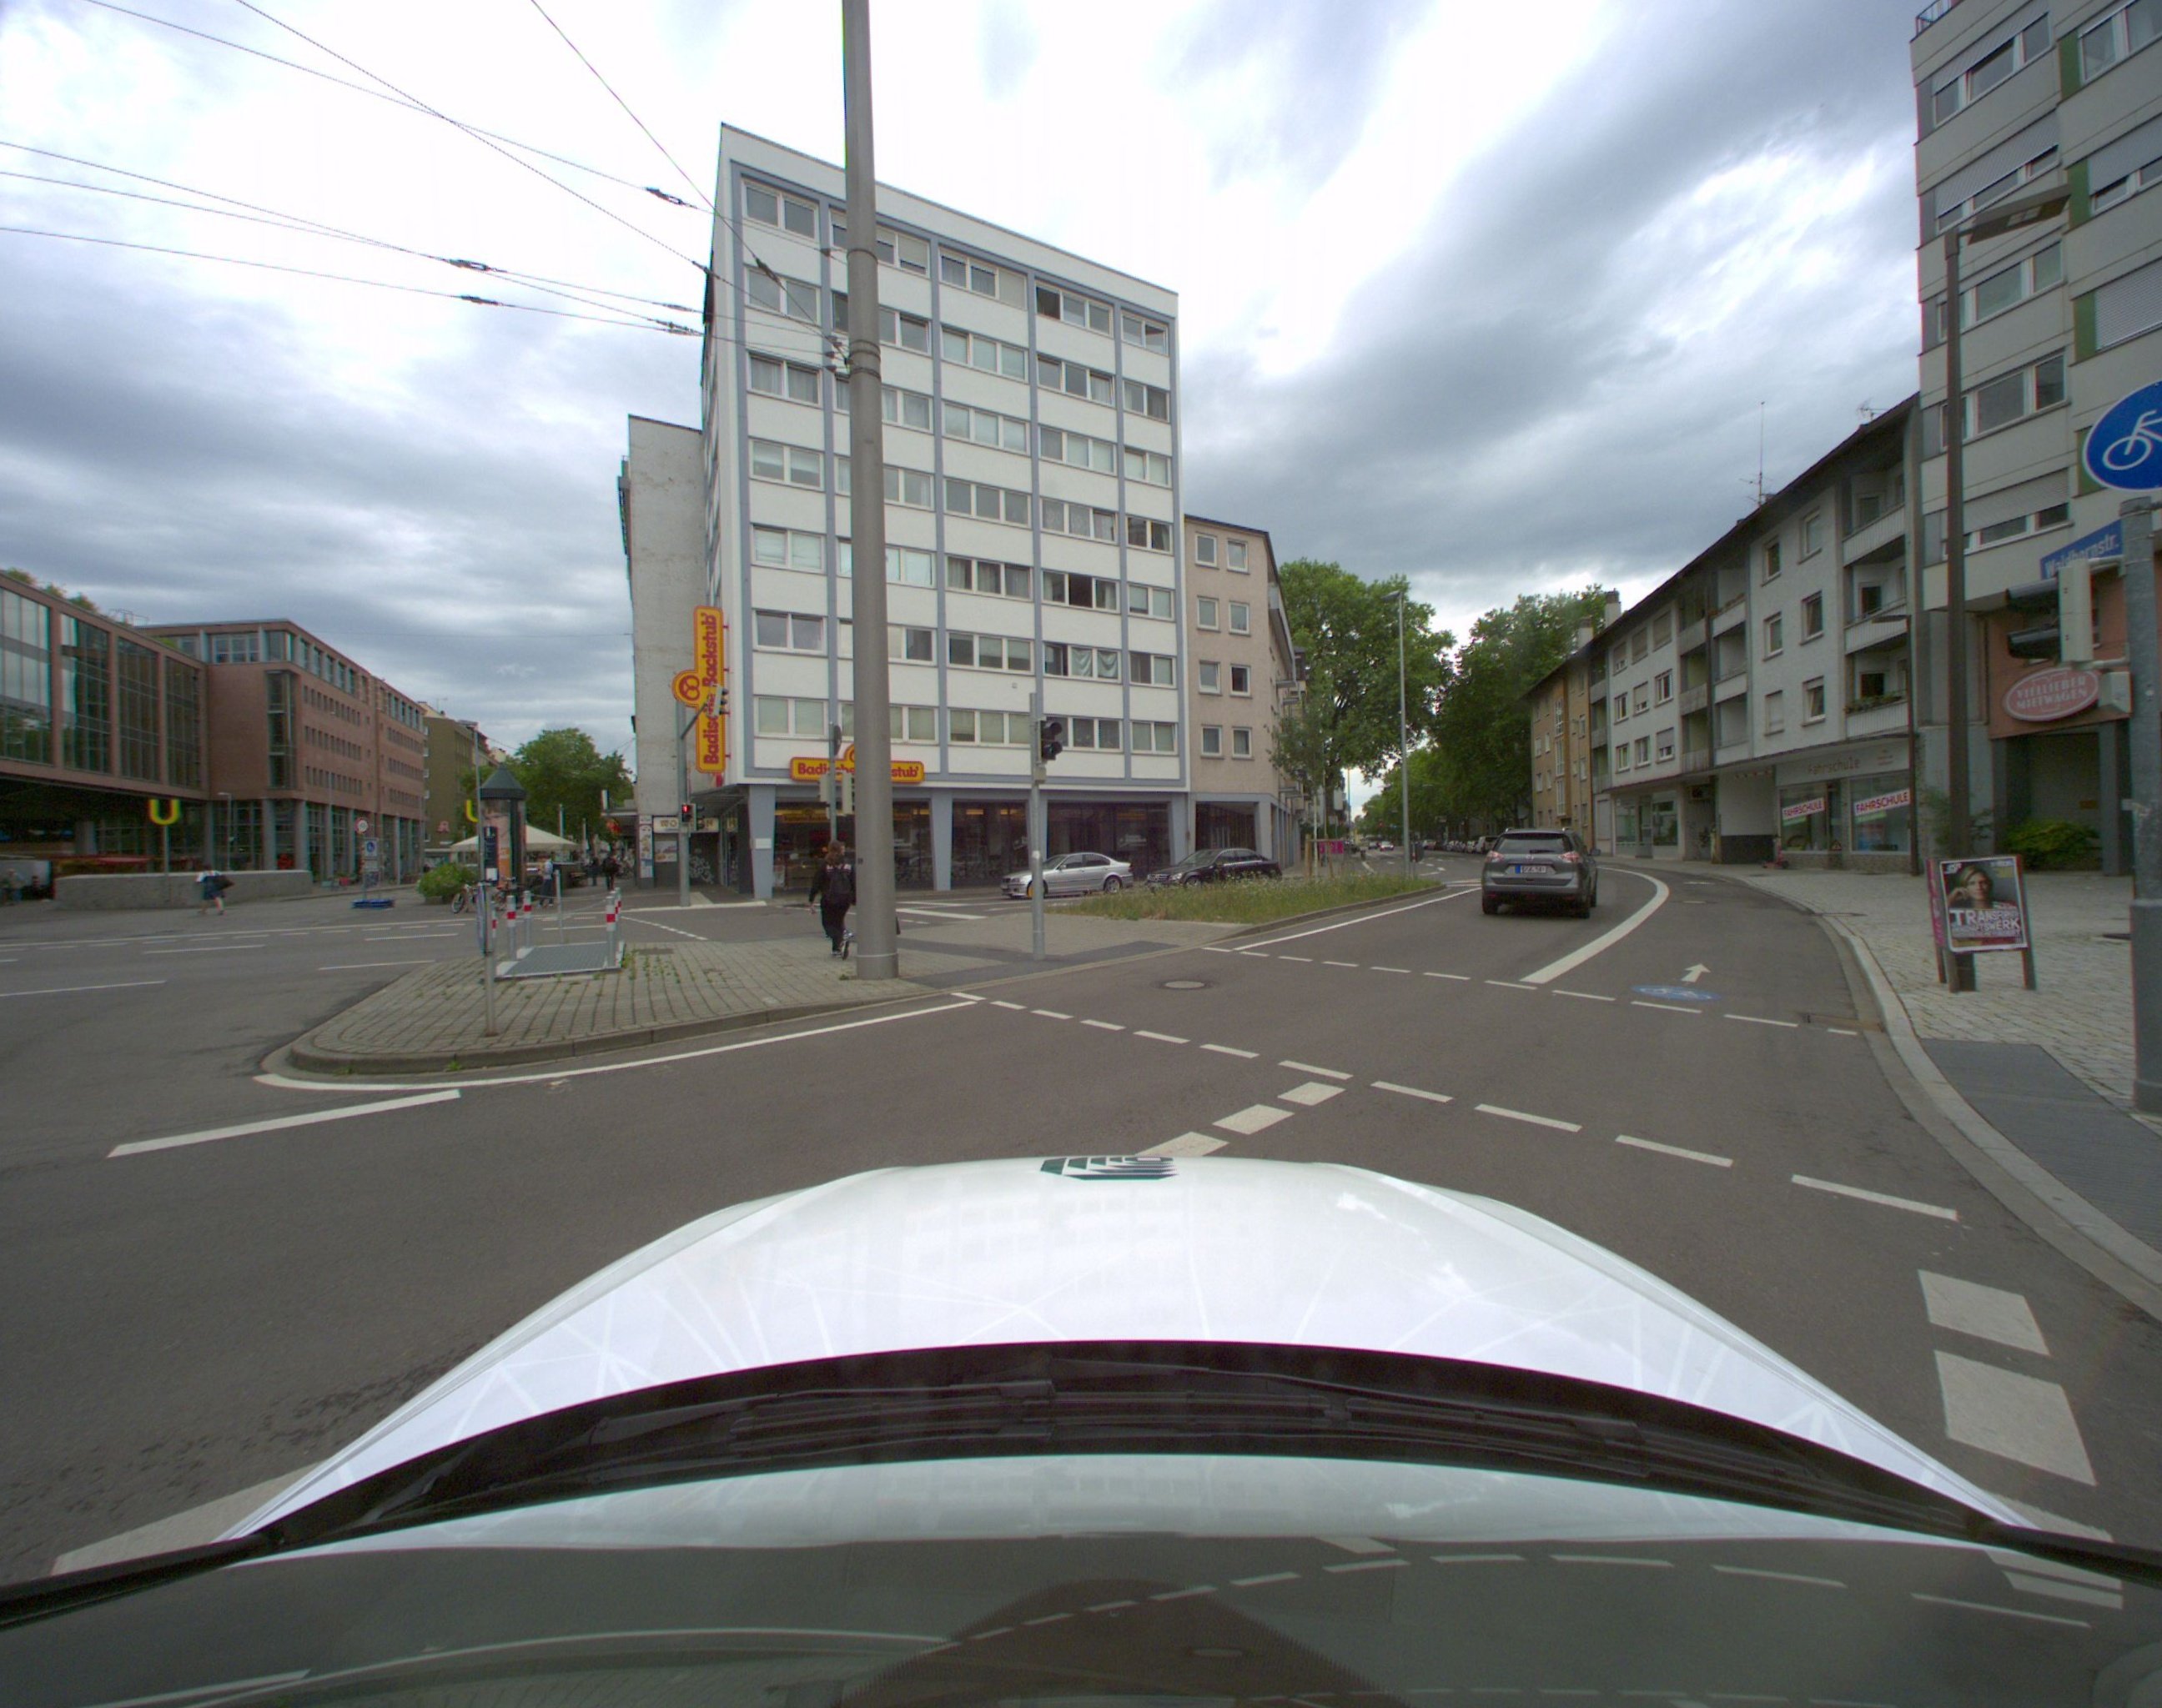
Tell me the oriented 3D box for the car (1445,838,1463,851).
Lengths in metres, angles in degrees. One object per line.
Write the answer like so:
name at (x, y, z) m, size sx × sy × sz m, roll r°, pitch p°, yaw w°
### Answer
car at (51.737, -1.312, 112.924) m, size 1.848 × 1.774 × 4.003 m, roll 0°, pitch 1°, yaw 19°

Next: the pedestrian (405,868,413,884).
pedestrian at (-71.271, 2.354, 86.365) m, size 0.605 × 1.714 × 0.648 m, roll 0°, pitch -1°, yaw -35°

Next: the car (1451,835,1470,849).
car at (50.266, -1.644, 107.873) m, size 1.848 × 1.774 × 4.003 m, roll 0°, pitch 1°, yaw 19°

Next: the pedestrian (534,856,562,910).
pedestrian at (-17.440, 0.938, 26.629) m, size 0.737 × 1.746 × 0.656 m, roll 0°, pitch -1°, yaw -36°

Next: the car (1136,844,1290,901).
car at (4.071, 0.521, 24.874) m, size 4.581 × 1.481 × 1.731 m, roll -2°, pitch 0°, yaw -31°

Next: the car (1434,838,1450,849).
car at (55.341, -1.622, 124.945) m, size 1.848 × 1.774 × 4.003 m, roll 0°, pitch 1°, yaw 19°

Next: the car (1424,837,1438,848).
car at (60.260, -1.947, 140.324) m, size 1.848 × 1.774 × 4.003 m, roll 0°, pitch 1°, yaw 19°

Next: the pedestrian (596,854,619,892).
pedestrian at (-21.500, 0.847, 36.979) m, size 0.711 × 1.705 × 0.730 m, roll 0°, pitch -1°, yaw -16°

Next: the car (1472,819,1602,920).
car at (9.422, 0.215, 16.618) m, size 1.845 × 1.774 × 4.596 m, roll 0°, pitch 1°, yaw 35°

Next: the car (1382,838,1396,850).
car at (46.920, -1.475, 124.099) m, size 1.848 × 1.774 × 4.003 m, roll 0°, pitch 1°, yaw 19°

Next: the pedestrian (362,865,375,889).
pedestrian at (-46.892, 1.499, 53.609) m, size 0.605 × 1.536 × 0.648 m, roll 0°, pitch -1°, yaw -35°

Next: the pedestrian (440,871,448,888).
pedestrian at (-64.409, 2.581, 82.380) m, size 0.605 × 1.714 × 0.648 m, roll 0°, pitch -1°, yaw -35°

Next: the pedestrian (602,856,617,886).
pedestrian at (-29.123, 1.025, 50.302) m, size 0.742 × 1.821 × 0.656 m, roll -2°, pitch 0°, yaw -30°

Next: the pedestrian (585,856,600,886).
pedestrian at (-27.984, 0.975, 46.659) m, size 0.646 × 1.705 × 0.554 m, roll 0°, pitch -1°, yaw -27°

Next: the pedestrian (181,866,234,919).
pedestrian at (-28.769, 1.251, 26.836) m, size 0.925 × 1.705 × 0.732 m, roll -1°, pitch -1°, yaw -9°

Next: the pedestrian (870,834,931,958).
pedestrian at (-2.693, 0.602, 12.103) m, size 0.626 × 1.761 × 0.771 m, roll 0°, pitch -1°, yaw -36°

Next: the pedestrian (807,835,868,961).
pedestrian at (-3.558, 0.623, 11.892) m, size 0.626 × 1.761 × 0.771 m, roll 0°, pitch -1°, yaw -36°

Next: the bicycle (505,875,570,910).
bicycle at (-17.887, 1.255, 26.834) m, size 1.702 × 1.065 × 0.434 m, roll 0°, pitch -1°, yaw -22°

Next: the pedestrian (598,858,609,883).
pedestrian at (-34.082, 1.174, 58.156) m, size 0.615 × 1.705 × 0.614 m, roll 0°, pitch -1°, yaw -27°

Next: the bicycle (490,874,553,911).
bicycle at (-18.647, 1.265, 27.174) m, size 1.708 × 1.172 × 0.432 m, roll 0°, pitch -1°, yaw -35°

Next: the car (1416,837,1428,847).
car at (64.803, -2.283, 154.689) m, size 1.848 × 1.774 × 4.003 m, roll 0°, pitch 1°, yaw 19°

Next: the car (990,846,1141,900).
car at (-0.457, 0.570, 26.344) m, size 4.581 × 1.481 × 1.731 m, roll -2°, pitch 0°, yaw -31°

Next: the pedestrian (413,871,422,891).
pedestrian at (-59.416, 2.397, 72.909) m, size 0.605 × 1.714 × 0.648 m, roll 0°, pitch -1°, yaw -35°

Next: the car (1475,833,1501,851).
car at (41.769, -1.212, 83.683) m, size 1.848 × 1.774 × 4.003 m, roll 0°, pitch 1°, yaw 19°

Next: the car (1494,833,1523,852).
car at (39.720, -1.079, 75.698) m, size 1.848 × 1.774 × 4.003 m, roll 0°, pitch 1°, yaw 19°

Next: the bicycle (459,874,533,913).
bicycle at (-18.867, 1.264, 26.283) m, size 1.883 × 1.172 × 0.524 m, roll 0°, pitch -1°, yaw -42°

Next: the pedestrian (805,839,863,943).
pedestrian at (-4.536, 0.654, 14.930) m, size 0.718 × 1.832 × 1.006 m, roll 0°, pitch -1°, yaw -36°

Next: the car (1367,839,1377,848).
car at (59.241, -2.215, 165.986) m, size 1.848 × 1.774 × 4.003 m, roll 0°, pitch 1°, yaw 19°

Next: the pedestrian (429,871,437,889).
pedestrian at (-63.723, 2.582, 80.068) m, size 0.605 × 1.714 × 0.648 m, roll 0°, pitch -1°, yaw -35°
